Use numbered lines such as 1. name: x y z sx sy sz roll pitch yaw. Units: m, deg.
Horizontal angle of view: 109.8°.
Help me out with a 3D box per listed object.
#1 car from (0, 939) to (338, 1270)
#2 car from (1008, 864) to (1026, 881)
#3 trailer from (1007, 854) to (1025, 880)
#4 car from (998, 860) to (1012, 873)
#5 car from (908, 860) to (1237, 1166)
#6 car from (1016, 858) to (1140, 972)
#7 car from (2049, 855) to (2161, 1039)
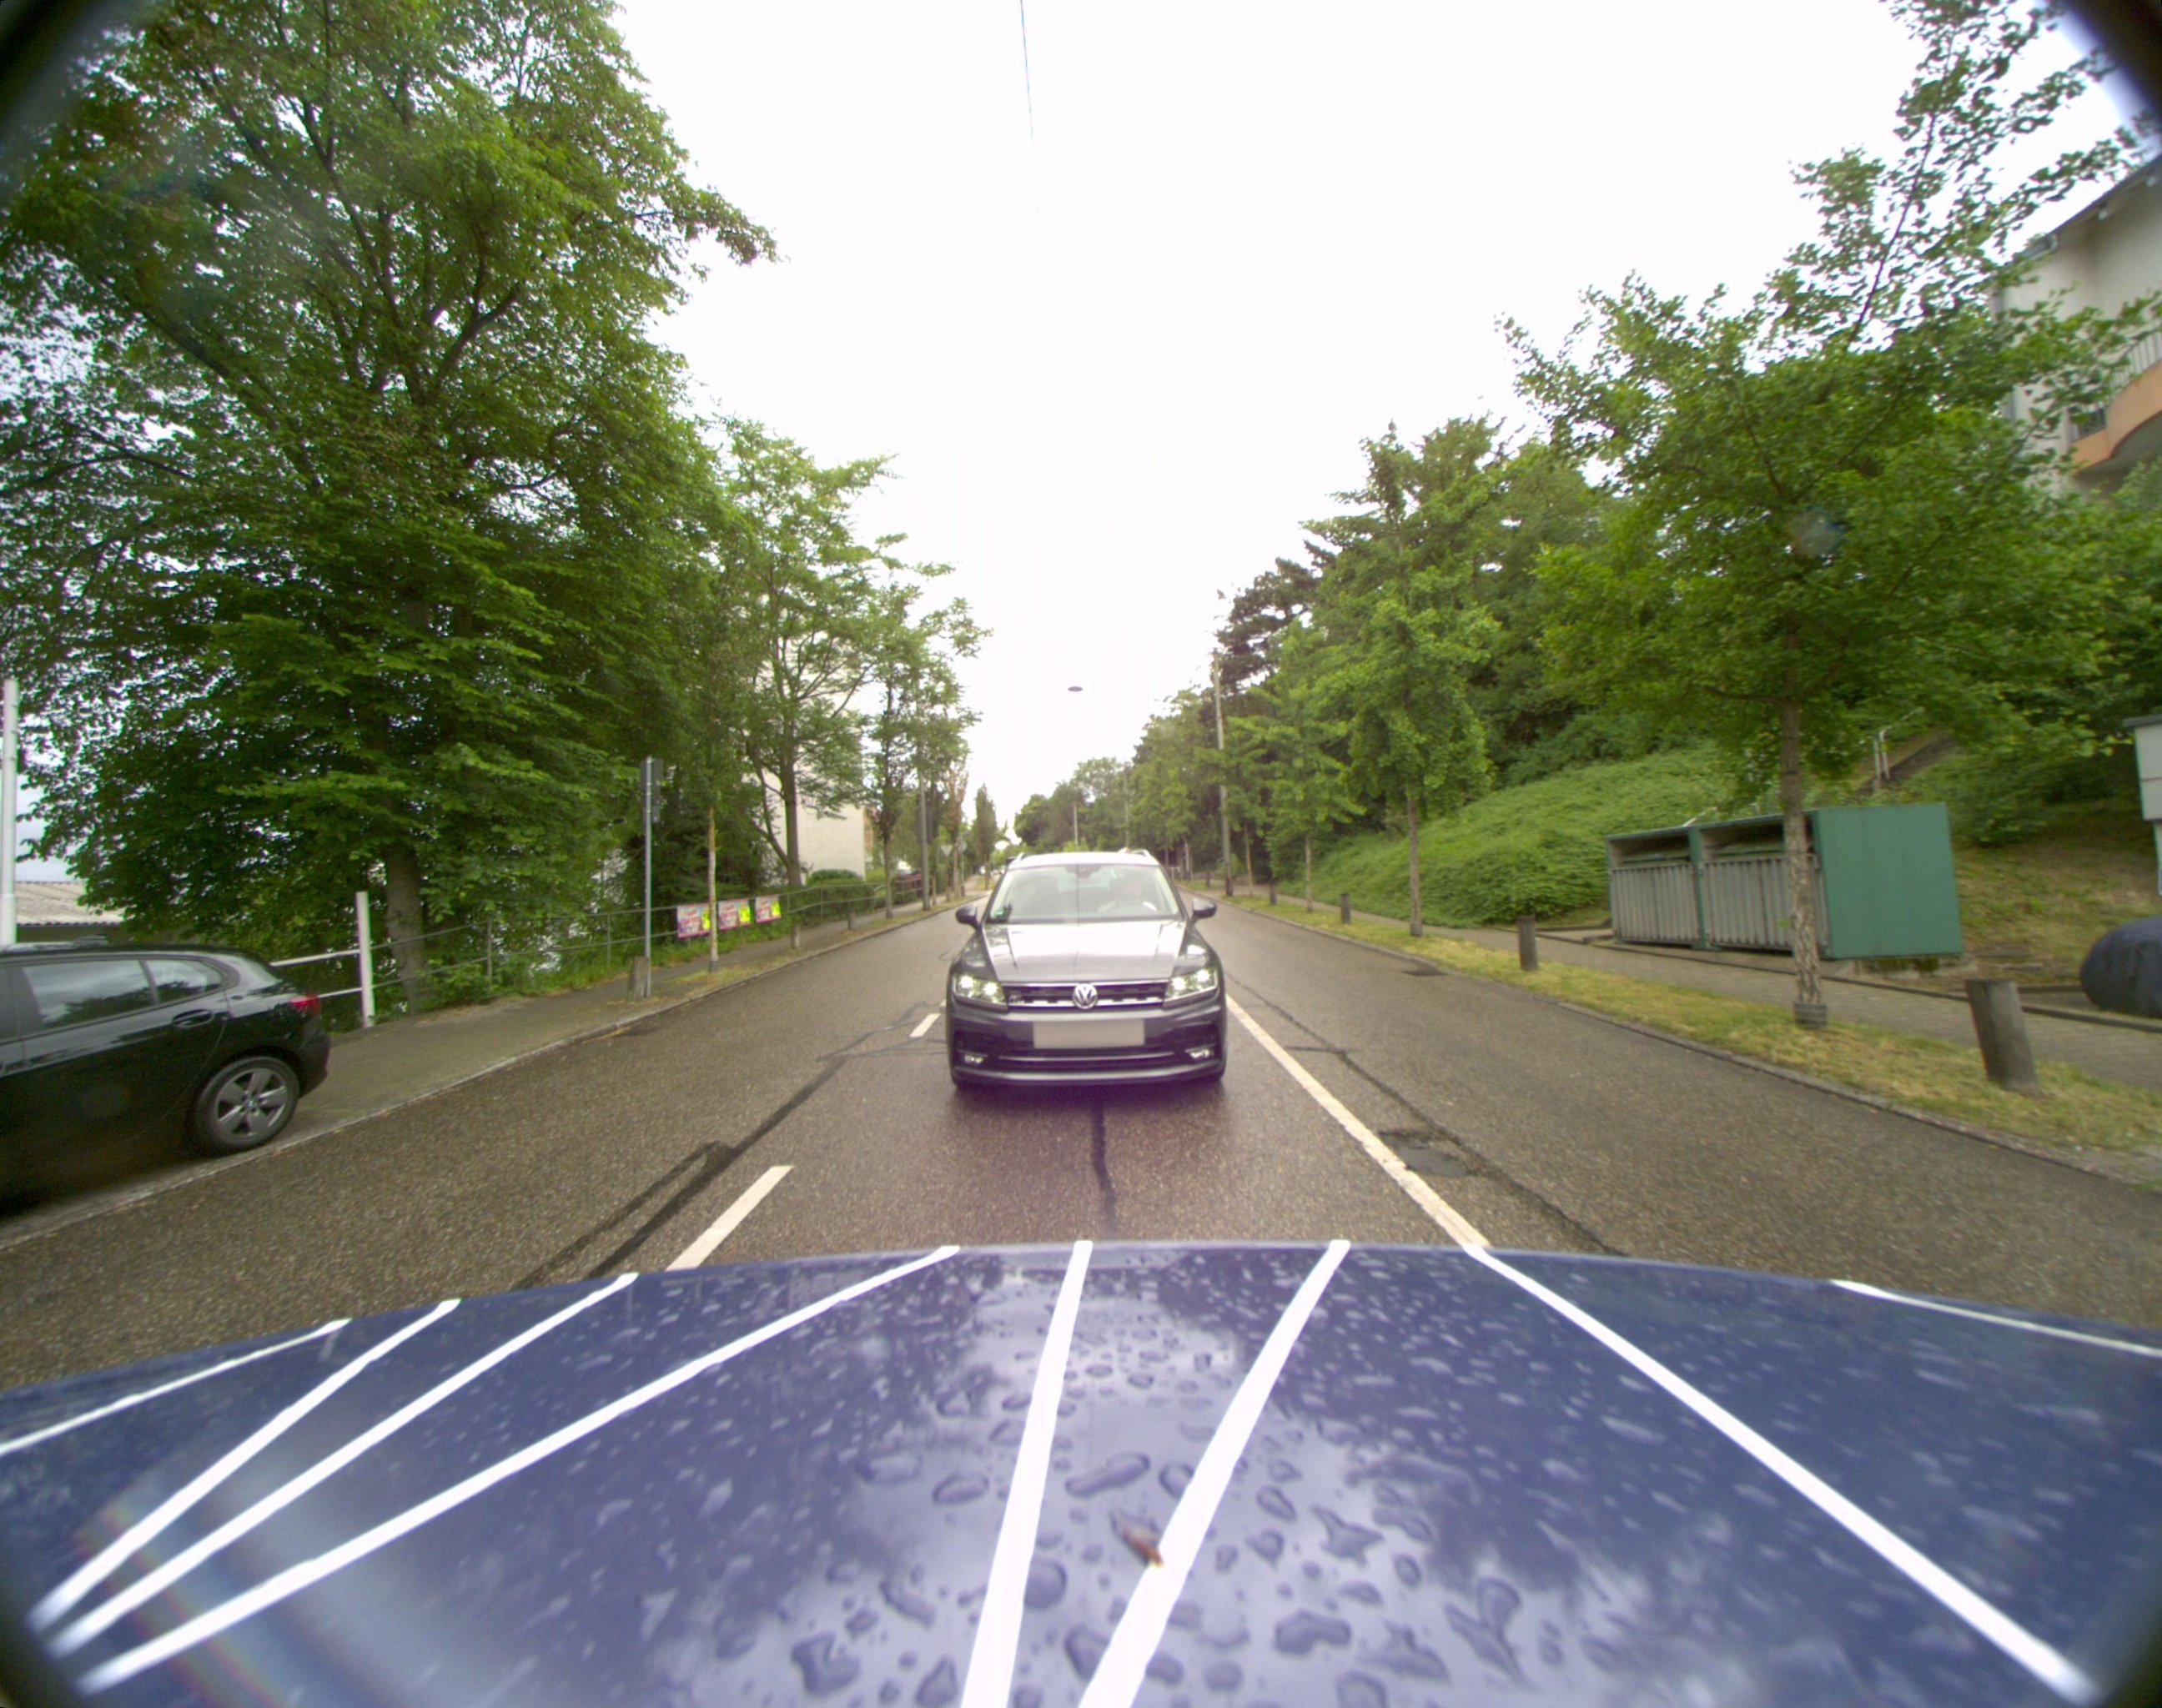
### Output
1. car: -6.231 1.348 3.320 1.843 1.435 4.155 -2 0 0
2. car: -6.726 1.936 79.395 1.737 1.610 3.473 -2 1 -6
3. trailer: -7.048 1.389 82.618 1.771 2.610 3.031 -2 1 -5
4. car: -12.178 2.000 121.856 2.000 2.002 3.997 -2 1 -8
5. car: -0.018 0.910 6.372 1.786 1.631 4.200 -2 0 1
6. car: -0.015 0.928 13.508 1.786 1.631 4.200 -2 0 1
7. car: 9.661 0.762 4.902 1.856 1.483 3.865 1 0 -1
